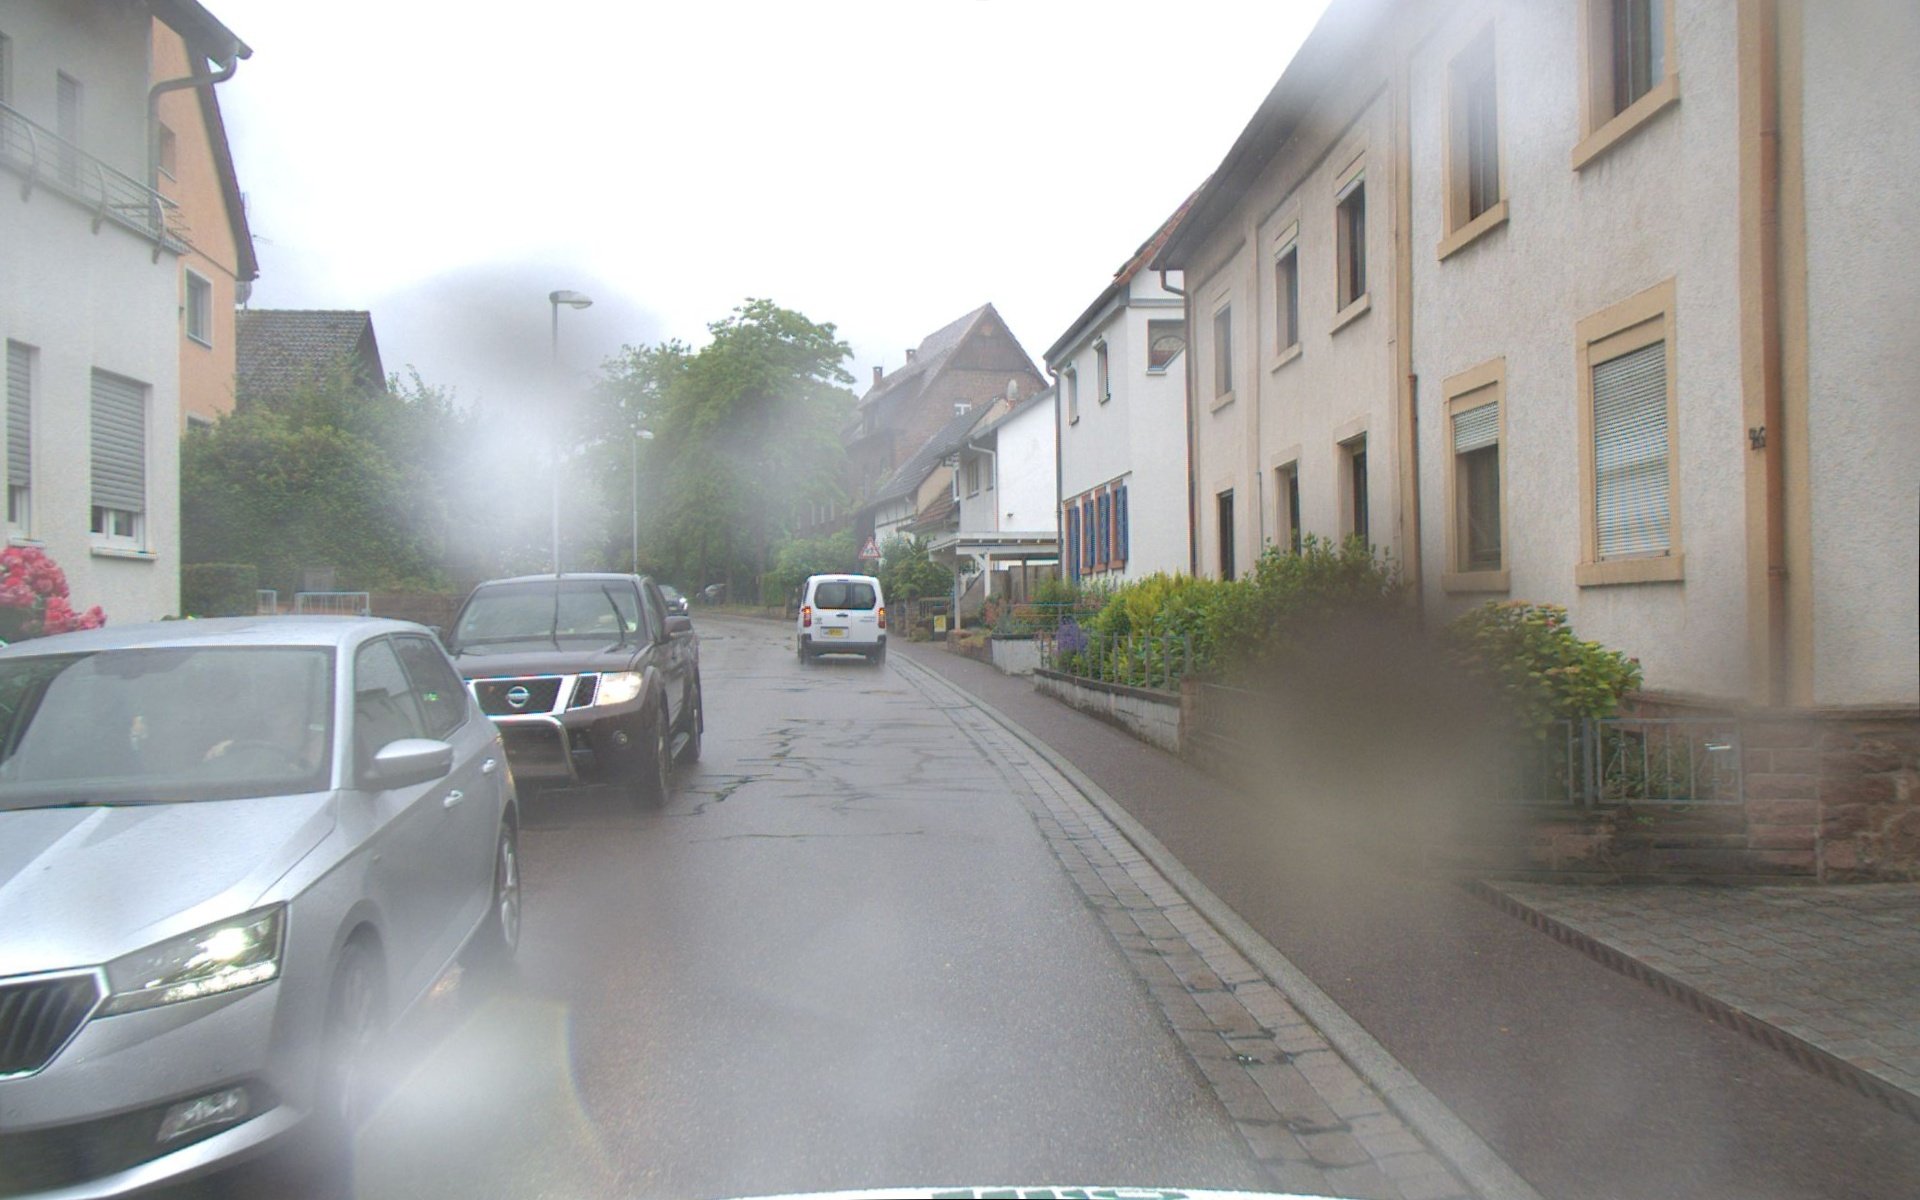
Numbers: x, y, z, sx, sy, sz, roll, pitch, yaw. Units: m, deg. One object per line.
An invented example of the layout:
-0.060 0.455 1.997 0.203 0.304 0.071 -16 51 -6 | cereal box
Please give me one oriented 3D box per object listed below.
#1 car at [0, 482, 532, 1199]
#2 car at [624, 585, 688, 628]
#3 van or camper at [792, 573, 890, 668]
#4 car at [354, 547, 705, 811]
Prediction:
-2.493 0.578 5.264 1.656 1.592 3.928 -1 0 -7 | car
-13.747 0.276 74.742 1.967 1.911 3.970 1 0 -24 | car
-2.472 0.405 35.148 1.904 1.883 3.998 1 0 -2 | van or camper
-3.208 0.504 13.324 1.955 1.707 4.777 -1 0 -5 | car
